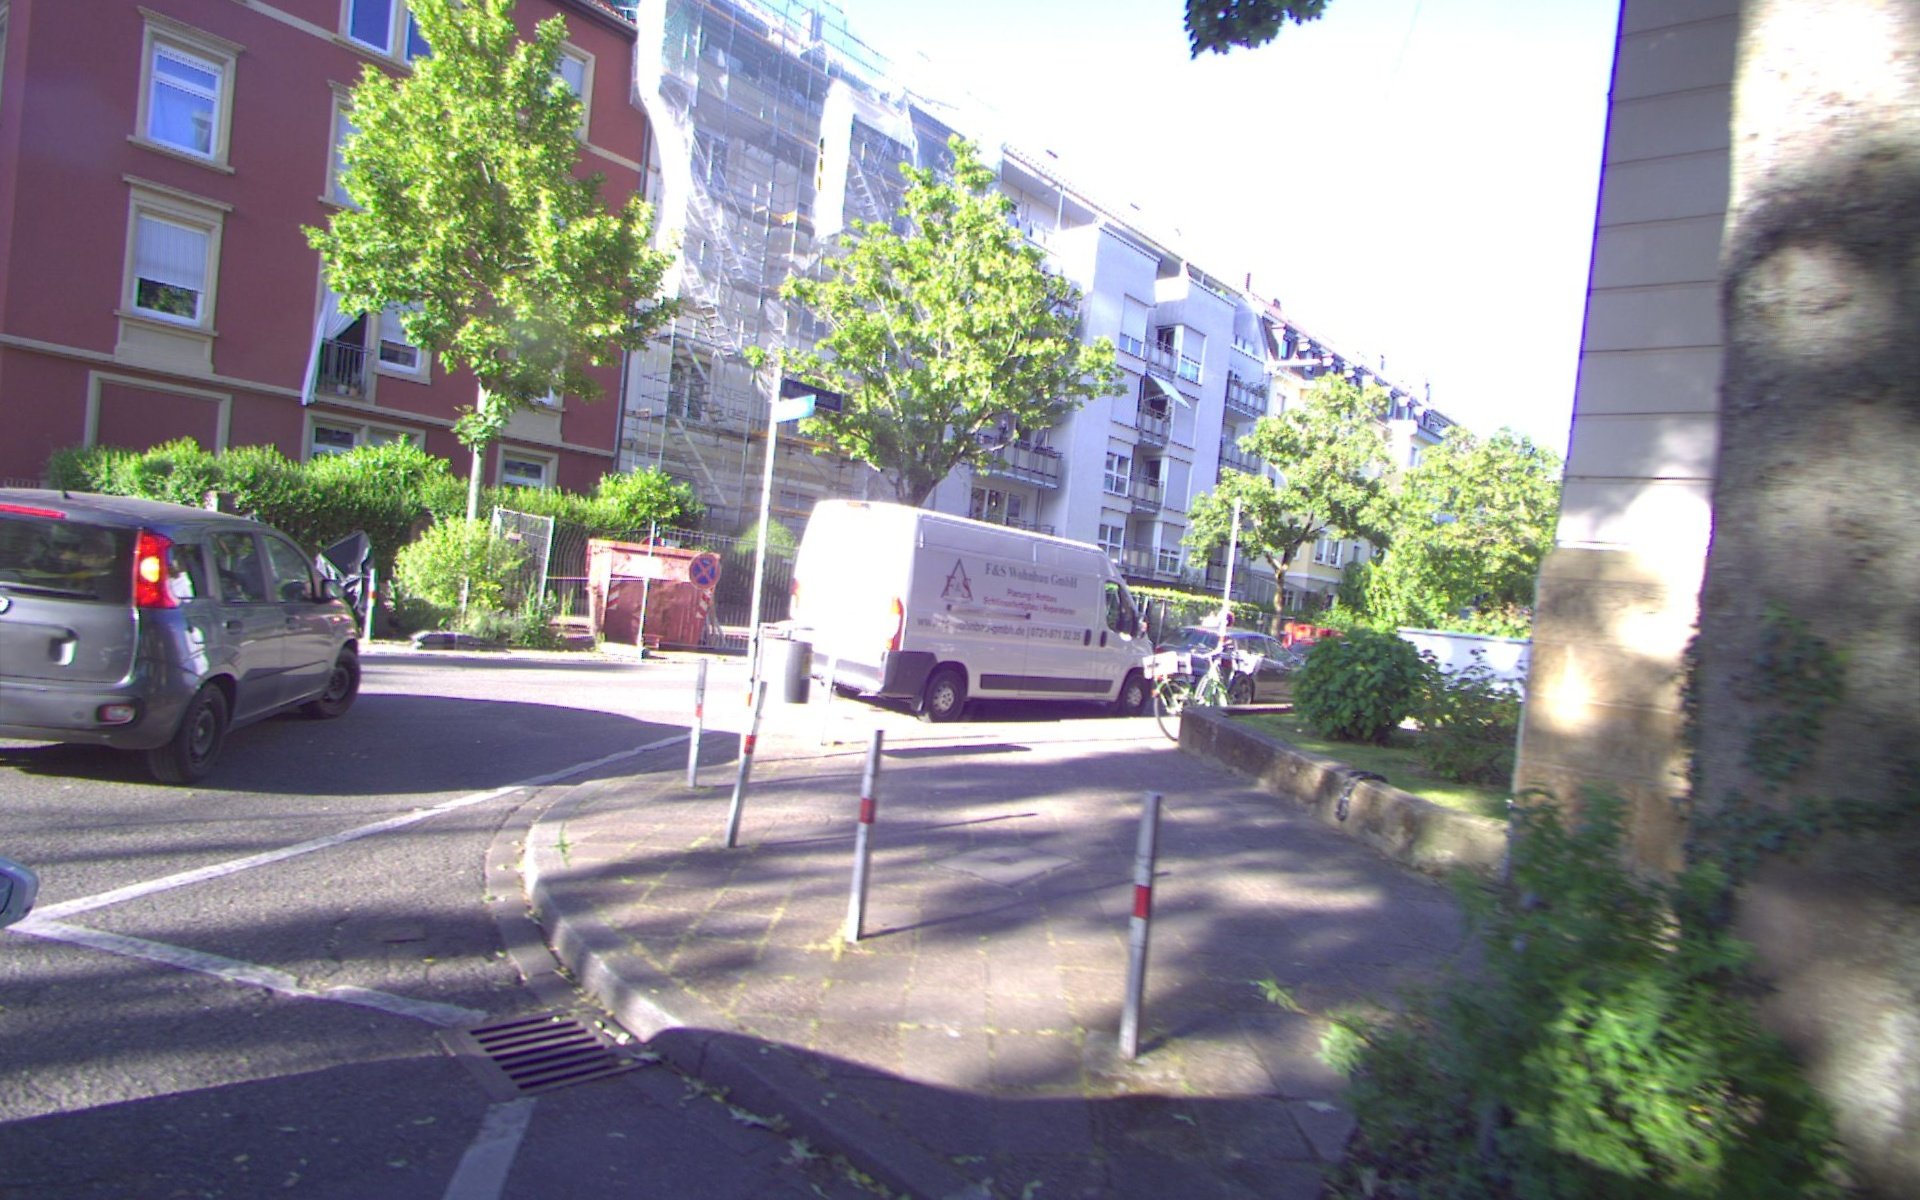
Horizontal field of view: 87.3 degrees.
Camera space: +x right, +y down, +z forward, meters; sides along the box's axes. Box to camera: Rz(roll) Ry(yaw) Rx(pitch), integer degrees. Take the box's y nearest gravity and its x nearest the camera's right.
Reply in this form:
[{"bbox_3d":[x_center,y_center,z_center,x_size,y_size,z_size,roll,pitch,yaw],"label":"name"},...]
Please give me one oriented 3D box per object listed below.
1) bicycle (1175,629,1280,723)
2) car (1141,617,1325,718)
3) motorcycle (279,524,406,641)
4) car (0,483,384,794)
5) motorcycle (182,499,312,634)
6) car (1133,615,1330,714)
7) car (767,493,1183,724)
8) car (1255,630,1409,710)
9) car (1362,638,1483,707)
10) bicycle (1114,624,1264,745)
[{"bbox_3d":[4.042,1.159,15.123,1.856,1.307,0.468,5,2,-42],"label":"bicycle"},{"bbox_3d":[5.102,1.236,18.479,1.702,1.483,3.867,7,1,40],"label":"car"},{"bbox_3d":[-8.836,-0.280,14.328,2.509,1.423,0.866,7,2,44],"label":"motorcycle"},{"bbox_3d":[-5.251,0.106,6.627,1.614,1.502,3.519,6,1,-16],"label":"car"},{"bbox_3d":[-9.597,-0.487,13.490,2.587,1.545,0.869,8,3,44],"label":"motorcycle"},{"bbox_3d":[5.076,1.193,18.520,1.765,1.457,3.977,7,1,43],"label":"car"},{"bbox_3d":[0.448,0.187,13.755,2.275,2.500,5.629,7,2,44],"label":"car"},{"bbox_3d":[8.368,1.563,22.423,1.764,1.441,4.198,7,1,40],"label":"car"},{"bbox_3d":[12.458,1.946,26.983,1.764,1.527,4.198,7,1,40],"label":"car"},{"bbox_3d":[2.763,1.018,12.045,1.854,1.307,0.632,5,2,-39],"label":"bicycle"}]
